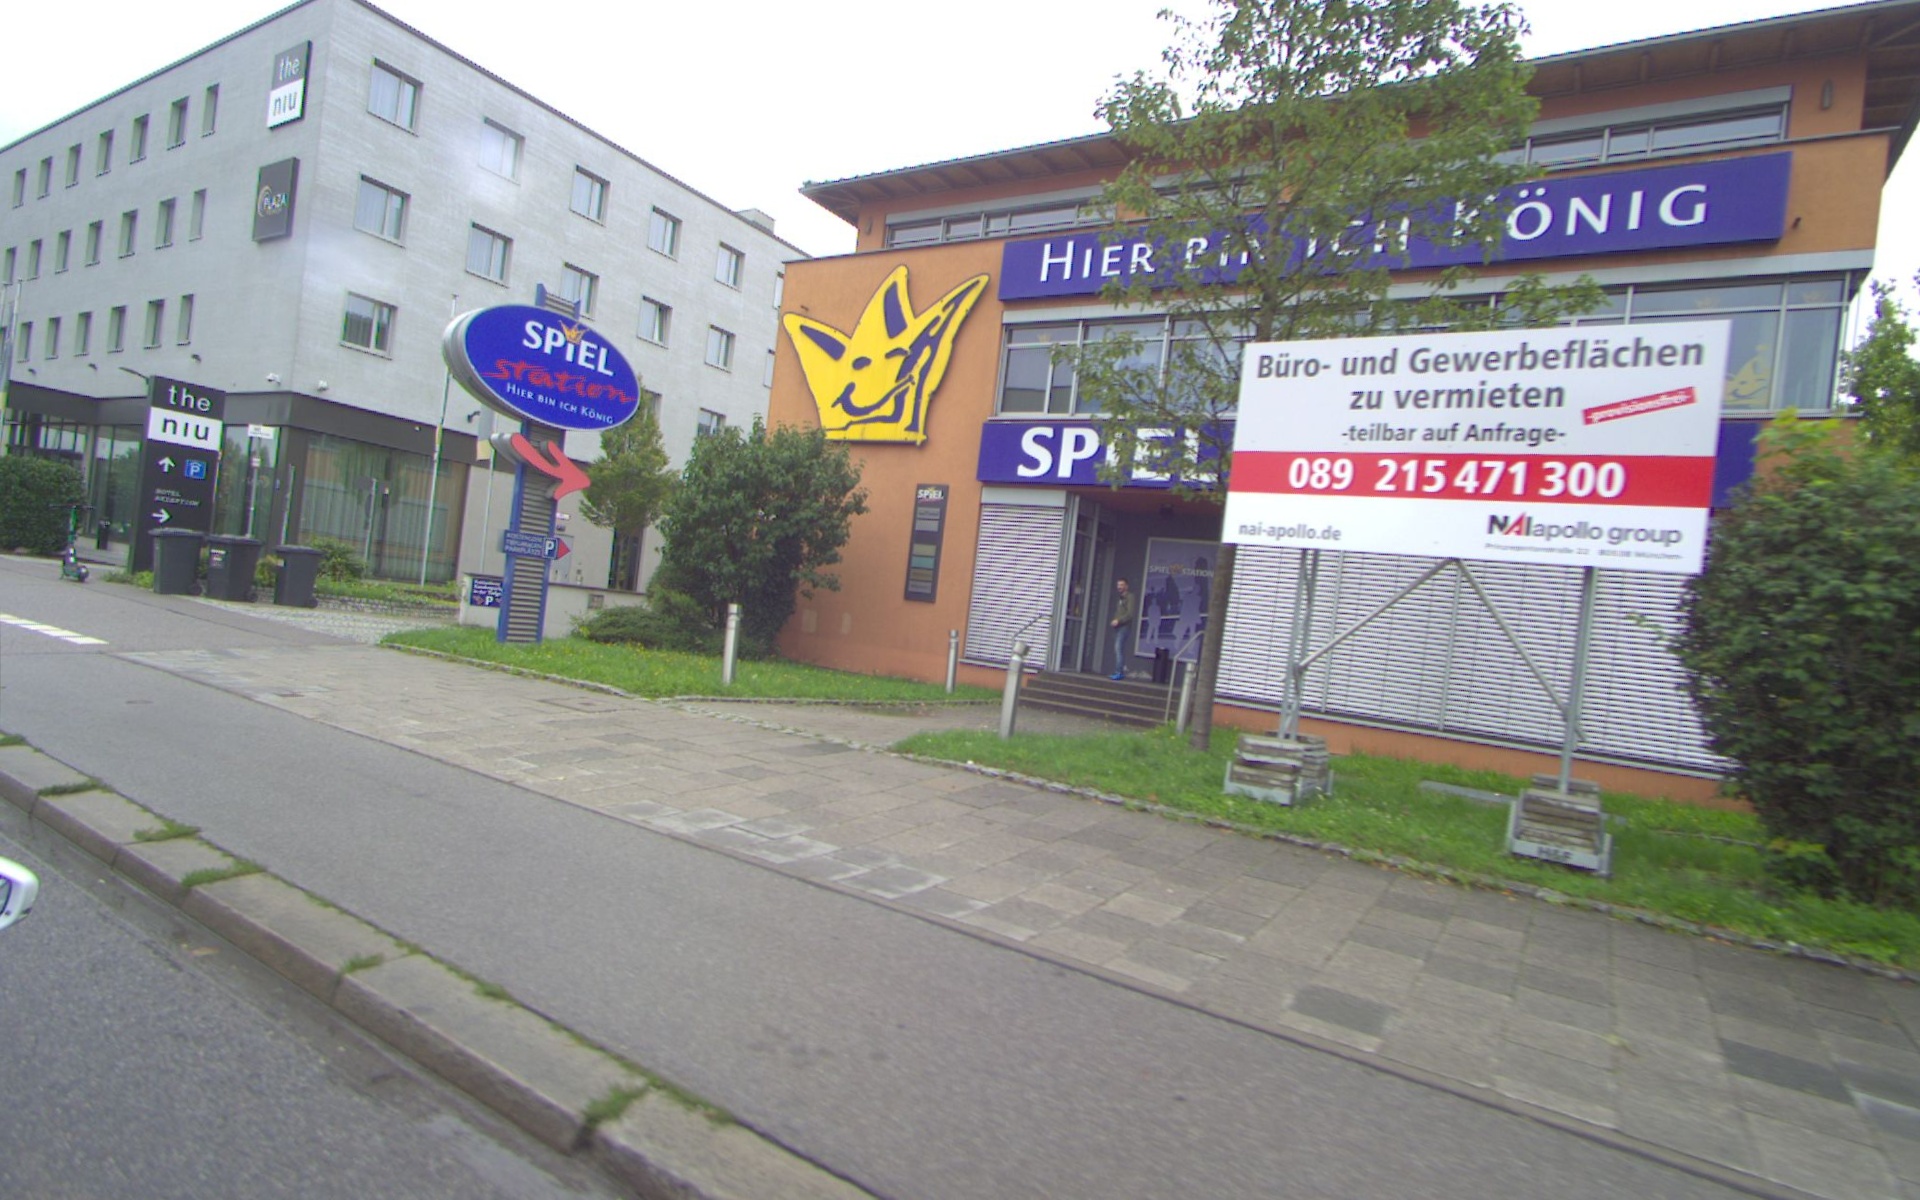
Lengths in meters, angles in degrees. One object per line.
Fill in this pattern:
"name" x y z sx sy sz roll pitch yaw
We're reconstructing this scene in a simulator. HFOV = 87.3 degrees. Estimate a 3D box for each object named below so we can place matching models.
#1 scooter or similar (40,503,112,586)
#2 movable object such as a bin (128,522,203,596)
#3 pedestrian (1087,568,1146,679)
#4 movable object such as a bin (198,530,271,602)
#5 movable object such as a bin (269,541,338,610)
"scooter or similar" -15.008 -0.954 17.077 1.381 1.296 0.585 7 5 33
"movable object such as a bin" -12.936 -0.657 16.382 0.645 1.092 0.737 7 1 33
"pedestrian" 2.582 0.388 16.528 0.648 1.734 0.662 7 1 22
"movable object such as a bin" -12.057 -0.555 16.717 0.645 1.092 0.737 7 1 33
"movable object such as a bin" -11.387 -0.419 17.459 0.645 1.092 0.737 7 1 33
